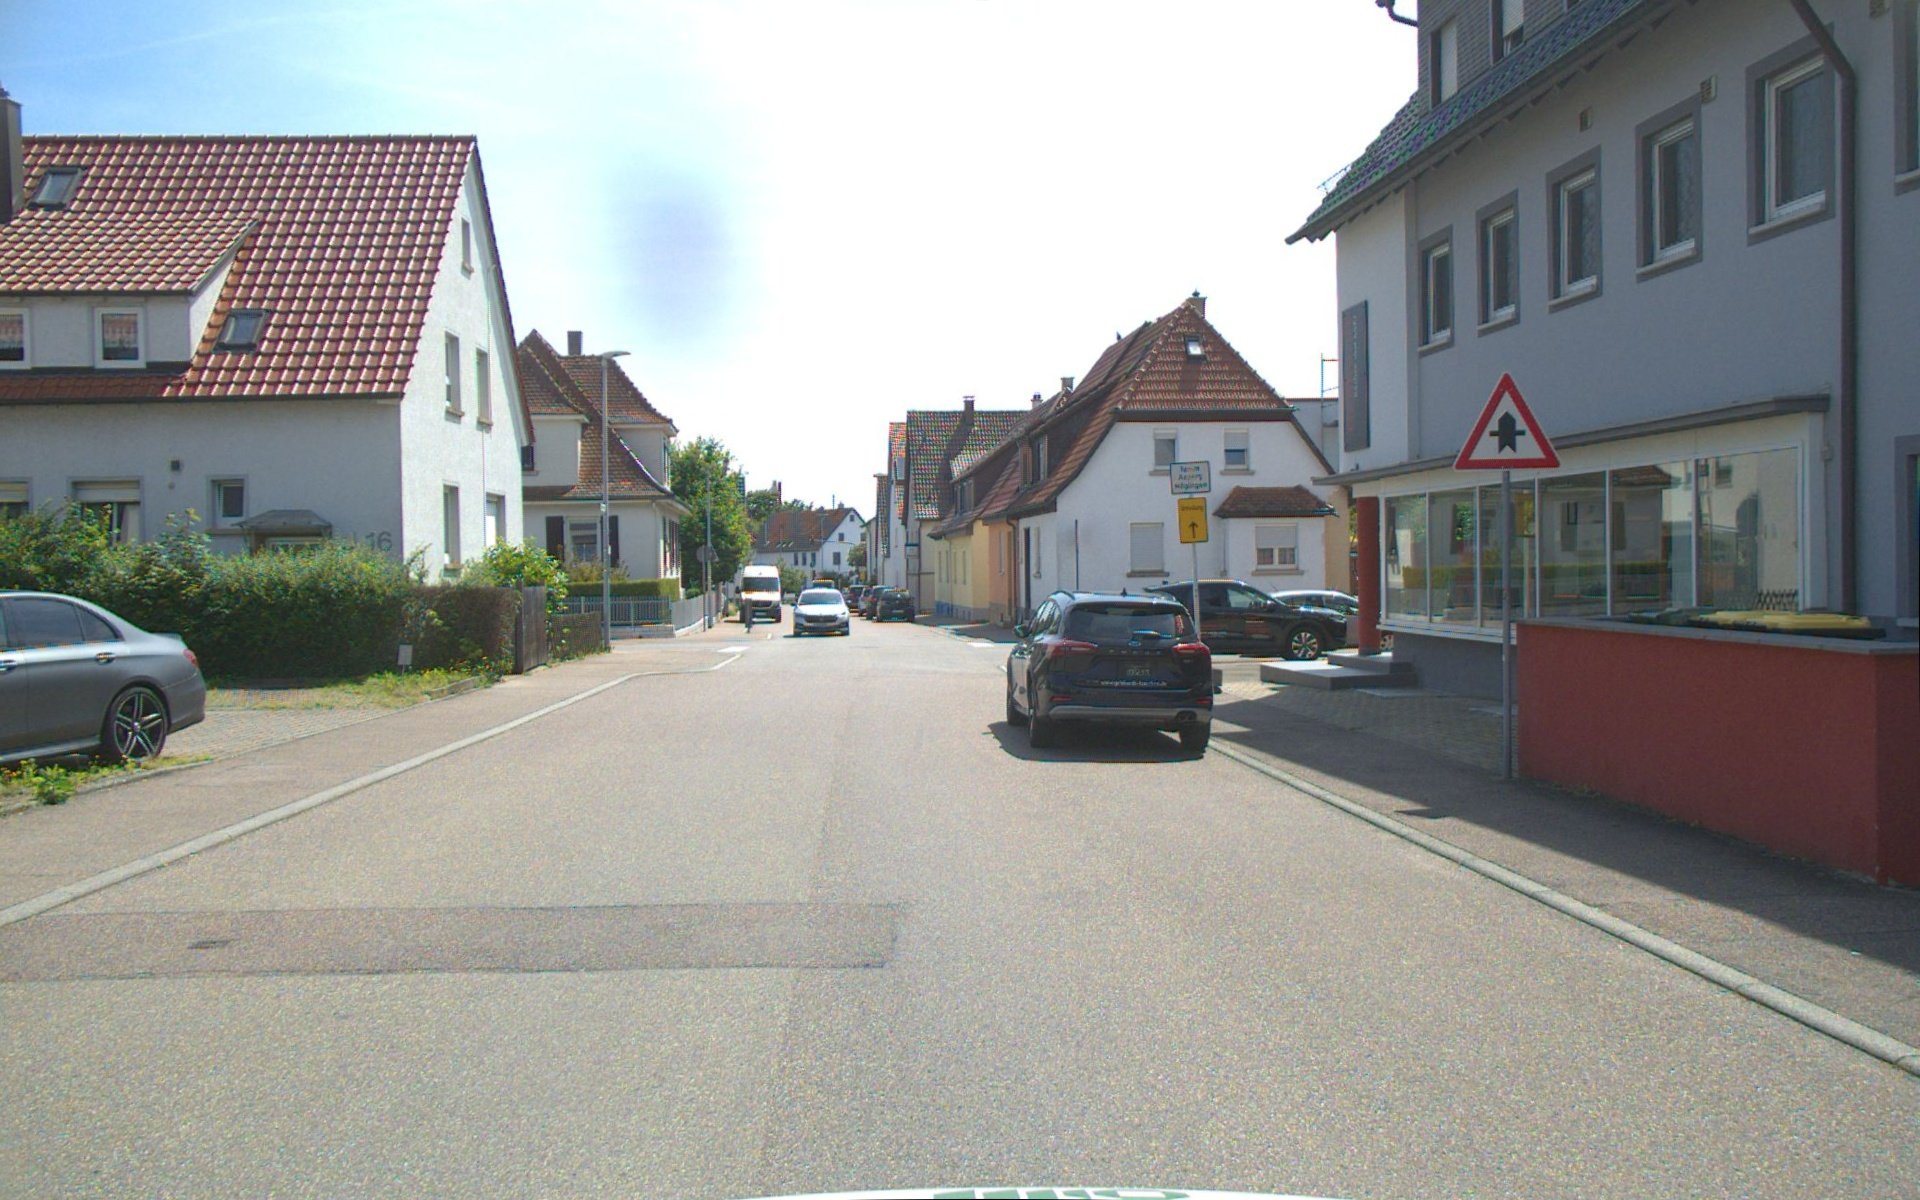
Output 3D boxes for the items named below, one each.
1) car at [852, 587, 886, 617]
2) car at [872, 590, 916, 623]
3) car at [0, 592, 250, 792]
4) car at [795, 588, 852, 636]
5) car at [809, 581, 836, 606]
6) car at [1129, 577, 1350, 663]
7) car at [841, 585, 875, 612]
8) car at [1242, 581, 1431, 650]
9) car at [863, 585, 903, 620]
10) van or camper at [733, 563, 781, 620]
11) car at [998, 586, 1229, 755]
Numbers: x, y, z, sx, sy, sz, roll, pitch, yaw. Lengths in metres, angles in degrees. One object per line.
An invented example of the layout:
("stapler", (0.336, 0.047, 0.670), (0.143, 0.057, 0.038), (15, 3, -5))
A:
("car", (-5.077, 0.097, 91.803), (1.642, 1.586, 3.034), (0, 0, -8))
("car", (-2.970, 0.268, 74.235), (1.581, 1.456, 3.747), (0, 0, -8))
("car", (-7.760, 0.677, 12.841), (1.788, 1.457, 4.567), (0, 0, 13))
("car", (-4.388, 0.347, 52.881), (1.719, 1.463, 4.583), (0, 0, -5))
("car", (-12.548, -0.627, 151.580), (2.085, 2.196, 4.736), (-1, 0, 0))
("car", (5.603, 0.383, 33.532), (4.204, 1.682, 1.848), (0, 0, 1))
("car", (-6.576, -0.116, 106.759), (1.840, 1.730, 4.175), (0, 0, -8))
("car", (8.524, 0.340, 37.618), (3.906, 1.530, 1.694), (0, 0, -1))
("car", (-3.751, 0.086, 79.954), (1.695, 1.627, 4.248), (0, 0, -6))
("van or camper", (-9.668, -0.410, 78.986), (2.143, 2.616, 6.797), (0, 0, -7))
("car", (1.464, 0.632, 17.420), (1.727, 1.553, 4.402), (0, 0, -4))
